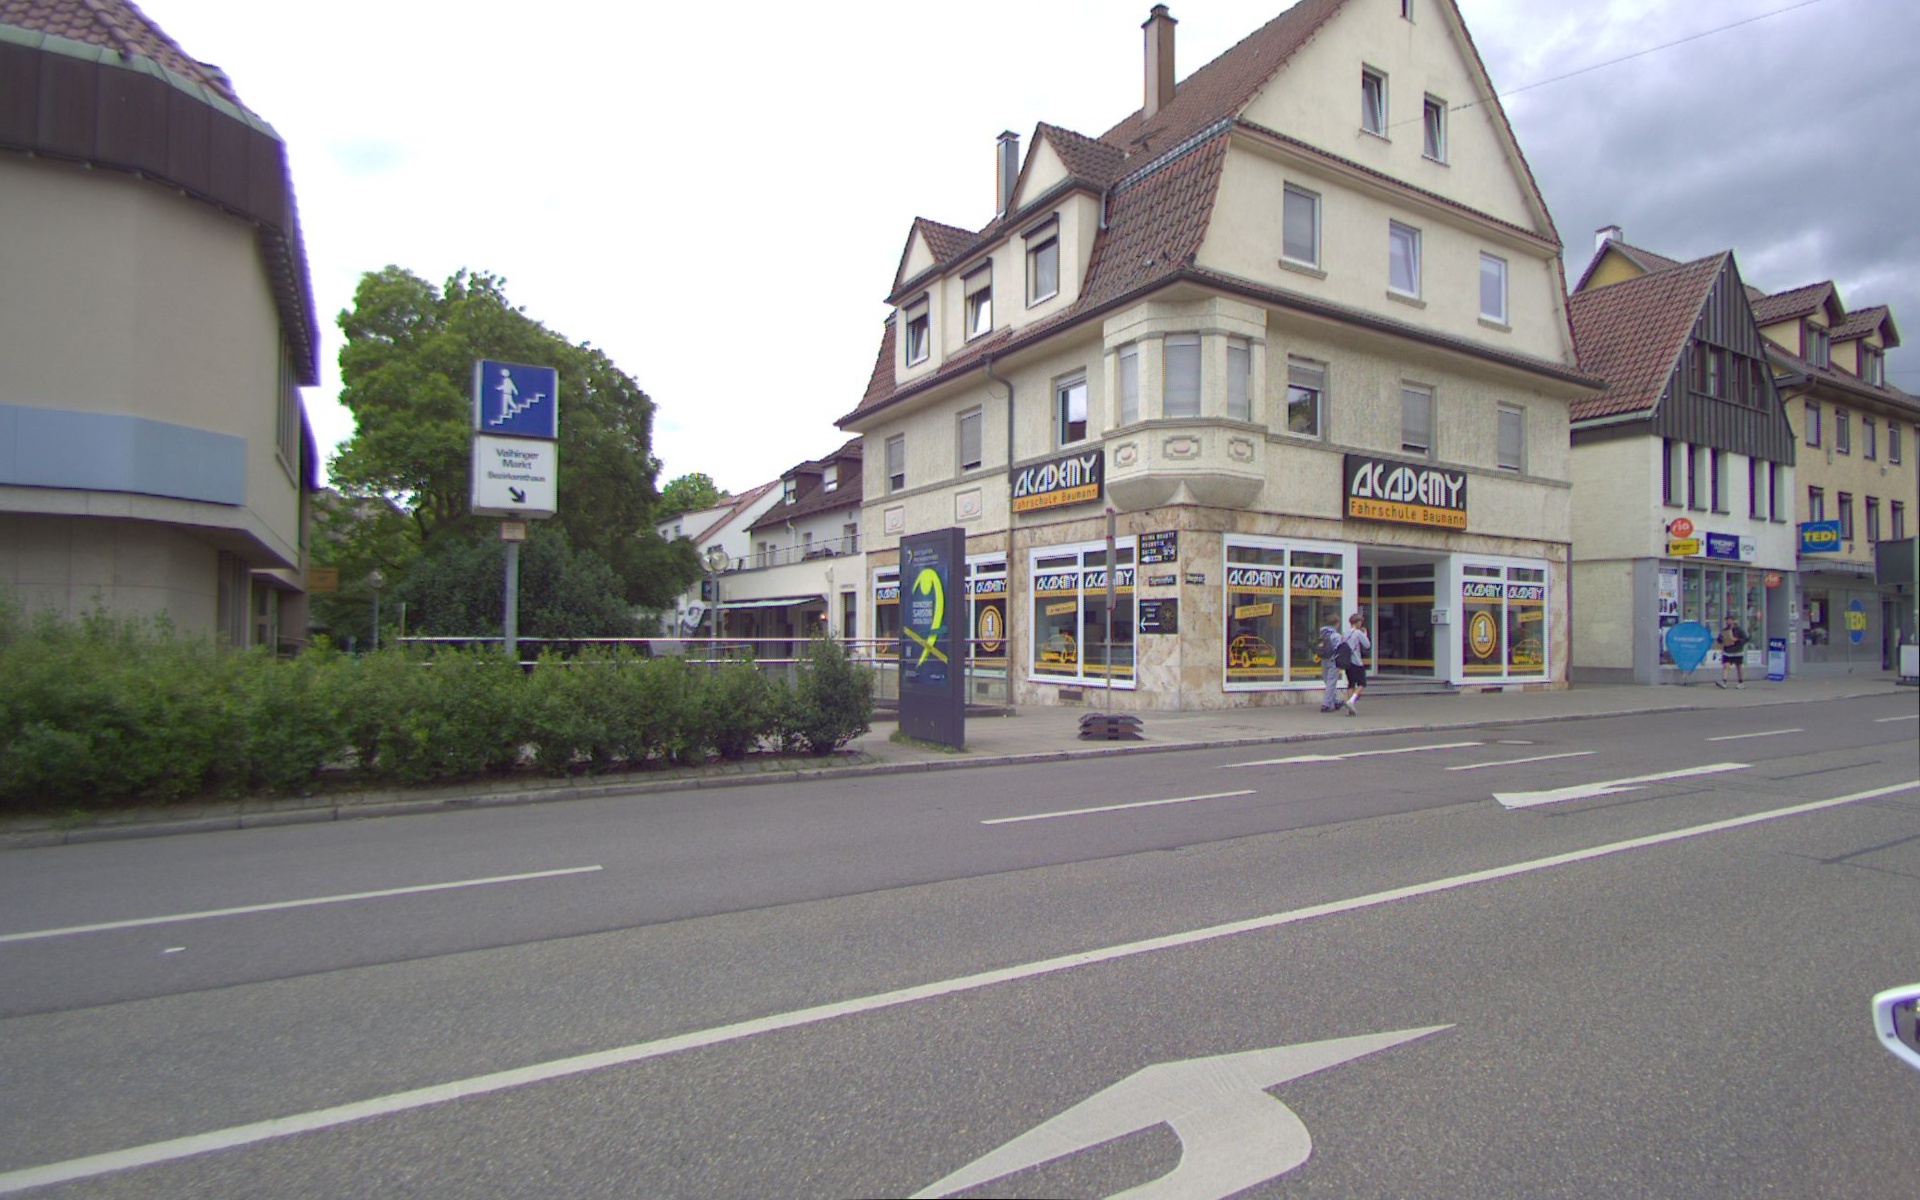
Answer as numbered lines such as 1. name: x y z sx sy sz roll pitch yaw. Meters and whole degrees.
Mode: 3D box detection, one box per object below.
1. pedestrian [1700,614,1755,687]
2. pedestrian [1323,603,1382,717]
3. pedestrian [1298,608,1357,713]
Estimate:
1. pedestrian: 19.445 1.255 25.468 0.798 1.770 0.861 0 2 -35
2. pedestrian: 6.580 0.993 16.844 0.673 1.848 0.630 1 -2 -31
3. pedestrian: 6.402 1.042 17.531 0.673 1.784 0.684 1 -2 -31
